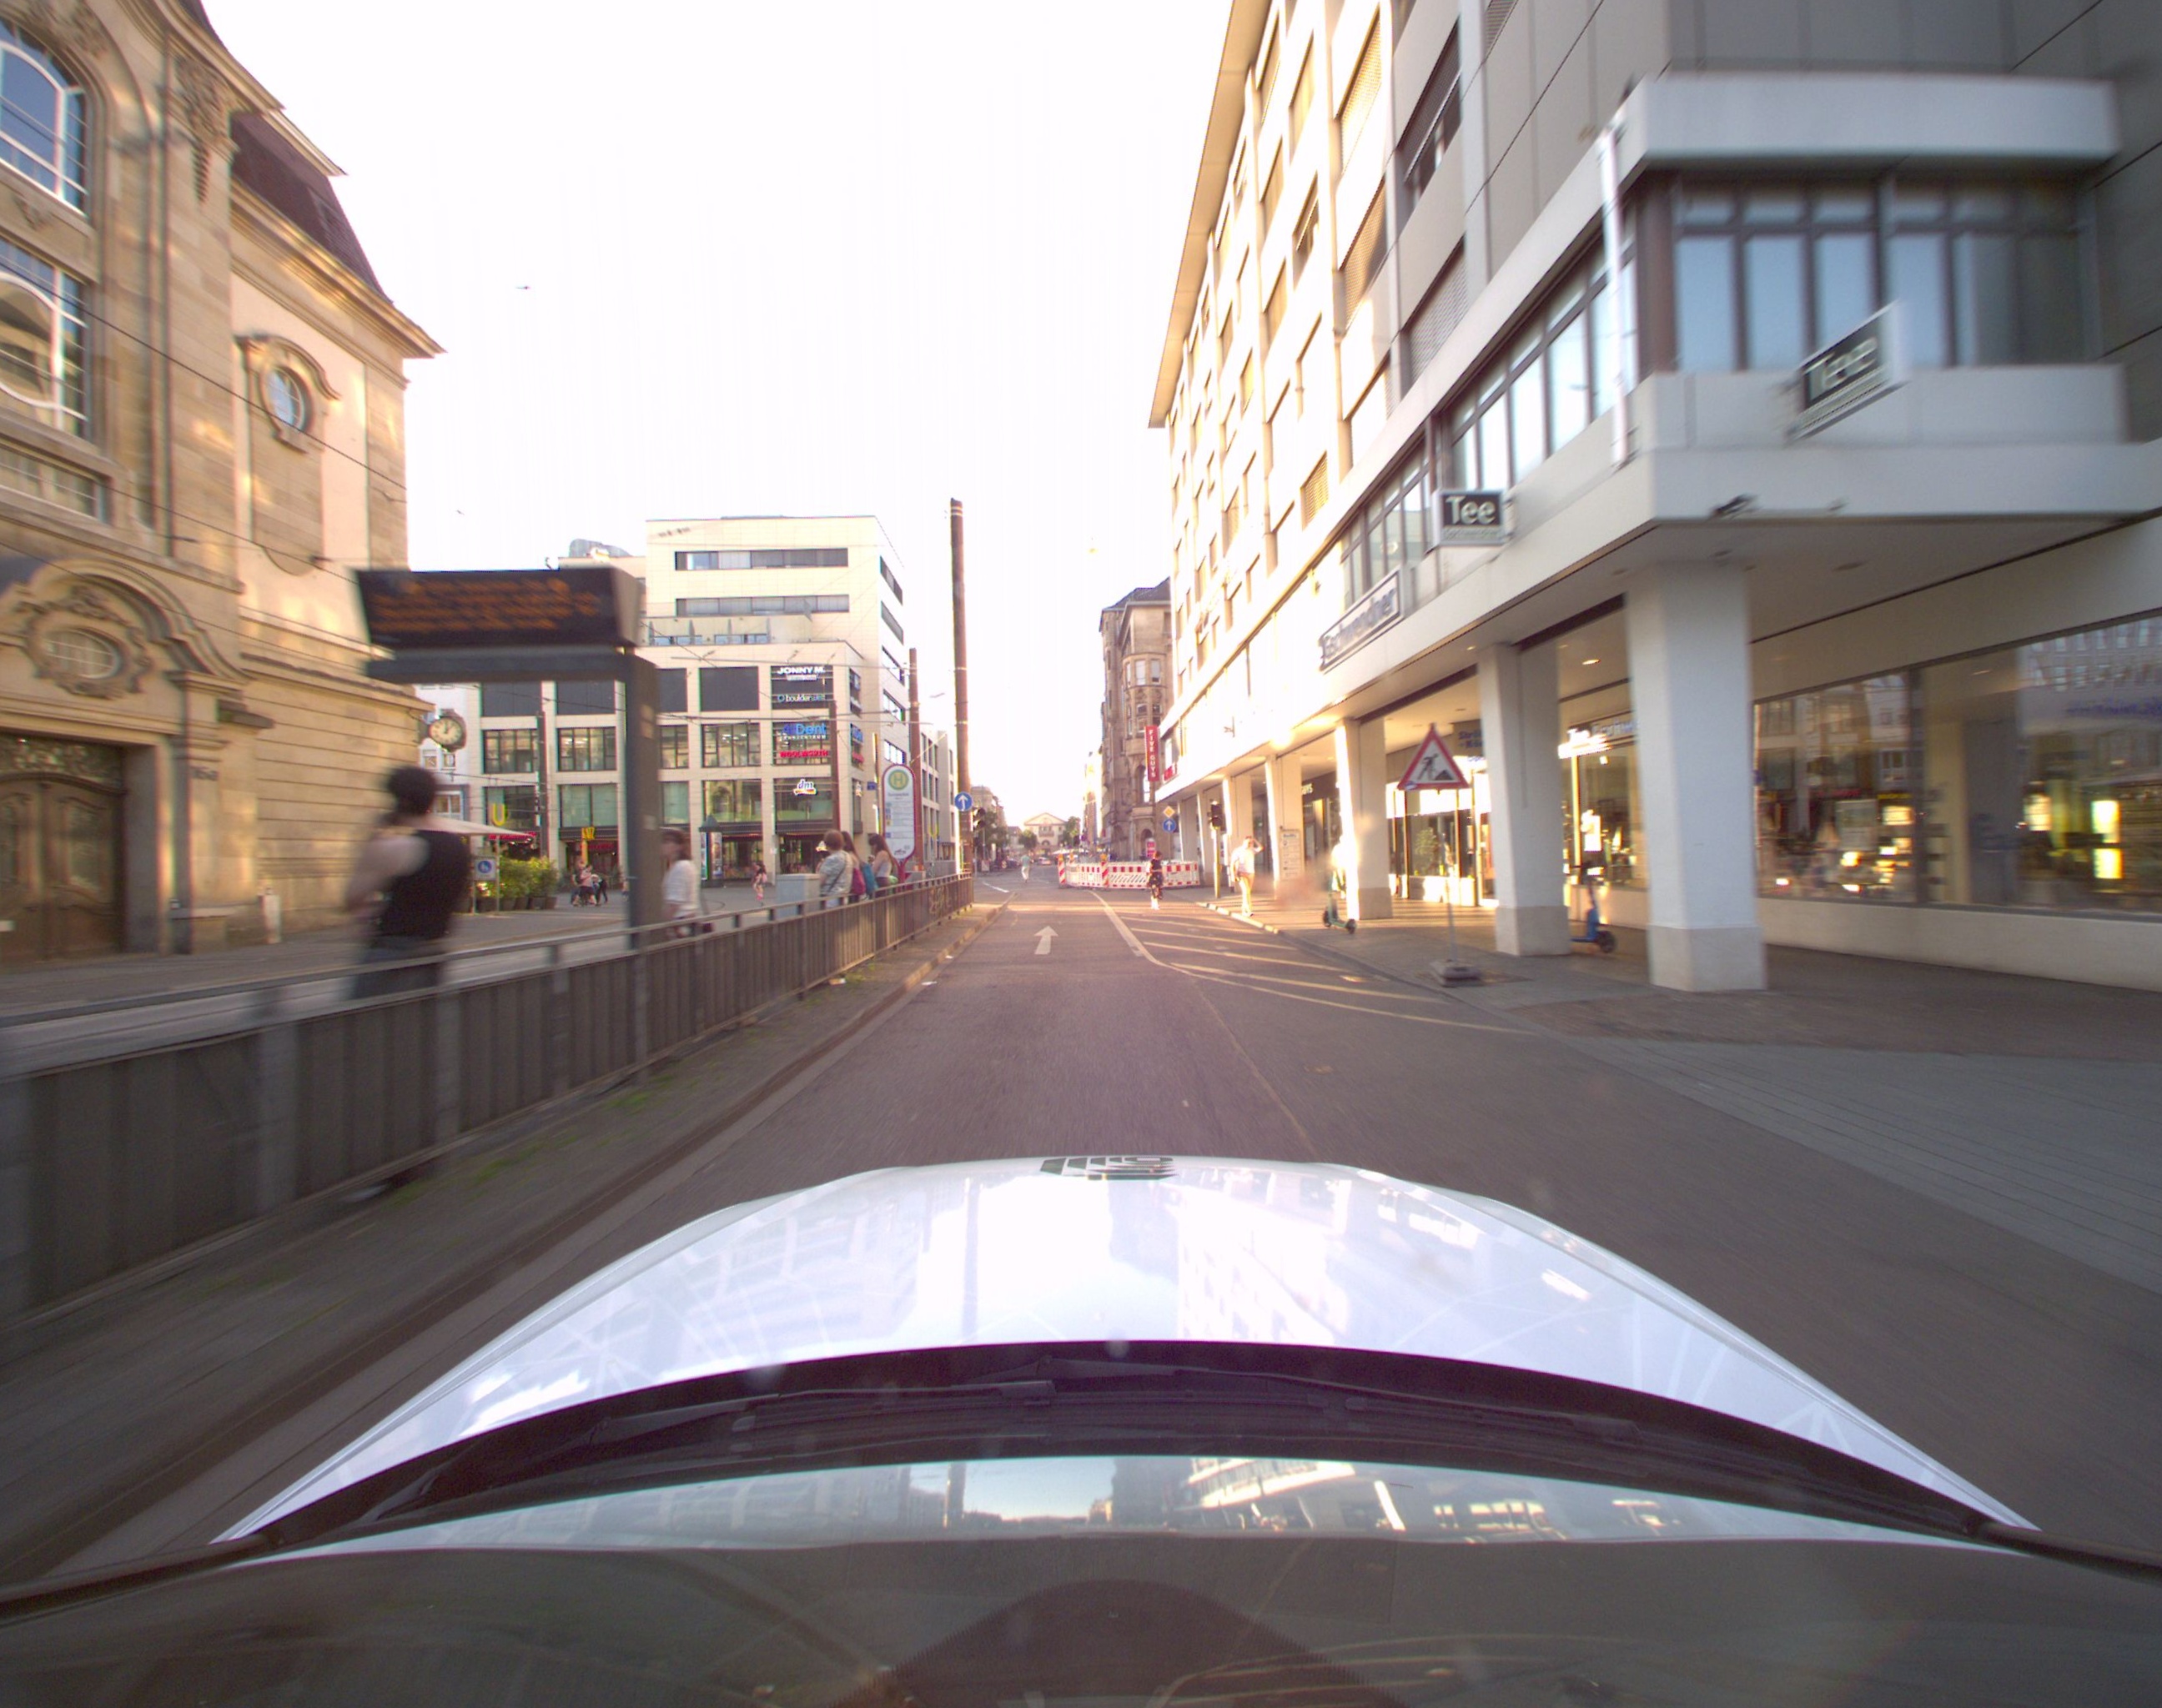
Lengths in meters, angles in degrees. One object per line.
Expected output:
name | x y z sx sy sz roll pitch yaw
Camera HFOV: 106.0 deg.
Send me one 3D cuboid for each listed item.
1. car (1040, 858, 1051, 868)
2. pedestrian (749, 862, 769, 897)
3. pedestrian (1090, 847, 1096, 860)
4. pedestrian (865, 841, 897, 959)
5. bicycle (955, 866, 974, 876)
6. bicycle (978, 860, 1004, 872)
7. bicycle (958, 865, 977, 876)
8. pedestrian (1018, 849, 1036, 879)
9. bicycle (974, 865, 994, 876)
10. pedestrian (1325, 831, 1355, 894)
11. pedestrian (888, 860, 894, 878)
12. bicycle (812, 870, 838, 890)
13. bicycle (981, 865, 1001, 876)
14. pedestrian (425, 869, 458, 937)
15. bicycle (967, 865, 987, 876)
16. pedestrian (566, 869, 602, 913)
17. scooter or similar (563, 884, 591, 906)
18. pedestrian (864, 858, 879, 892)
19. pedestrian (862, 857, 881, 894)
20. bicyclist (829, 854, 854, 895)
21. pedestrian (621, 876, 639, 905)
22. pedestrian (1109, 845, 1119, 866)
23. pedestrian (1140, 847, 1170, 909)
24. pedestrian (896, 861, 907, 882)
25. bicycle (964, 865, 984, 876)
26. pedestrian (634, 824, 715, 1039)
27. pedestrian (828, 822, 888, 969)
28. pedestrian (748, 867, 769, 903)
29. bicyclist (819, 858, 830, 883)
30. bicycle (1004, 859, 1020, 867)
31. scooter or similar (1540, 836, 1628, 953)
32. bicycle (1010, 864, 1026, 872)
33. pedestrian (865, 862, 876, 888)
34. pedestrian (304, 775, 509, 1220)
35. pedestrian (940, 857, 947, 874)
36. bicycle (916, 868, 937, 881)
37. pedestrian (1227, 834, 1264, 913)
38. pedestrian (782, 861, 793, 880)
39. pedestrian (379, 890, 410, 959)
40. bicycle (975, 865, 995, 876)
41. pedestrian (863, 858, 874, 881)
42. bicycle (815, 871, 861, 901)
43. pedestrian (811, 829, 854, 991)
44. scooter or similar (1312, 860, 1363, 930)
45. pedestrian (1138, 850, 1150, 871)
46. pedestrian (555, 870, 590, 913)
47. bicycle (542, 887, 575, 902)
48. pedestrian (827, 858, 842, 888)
car | -6.787 1.657 156.937 1.988 1.904 3.997 -1 -1 -2
pedestrian | -15.226 1.209 38.454 0.774 1.614 0.661 -2 0 -27
pedestrian | 1.570 -0.105 106.761 0.642 1.690 0.670 -2 -1 -4
pedestrian | -2.852 0.646 11.637 0.356 1.642 0.502 -1 -1 -4
bicycle | -12.658 1.846 88.759 1.980 1.122 0.553 0 -1 -31
bicycle | -10.421 1.355 94.480 2.904 1.255 0.796 -2 -1 -28
bicycle | -12.279 1.761 87.828 1.980 1.122 0.553 0 -1 -31
pedestrian | -3.195 0.593 48.378 0.860 1.761 0.770 -1 -1 10
bicycle | -10.143 1.704 85.187 1.980 1.122 0.553 0 -1 -31
pedestrian | 7.498 0.246 23.577 0.696 1.815 0.631 -1 -1 5
pedestrian | -16.189 1.251 69.398 0.389 1.515 0.505 -2 -1 -3
bicycle | -14.842 1.487 47.310 0.569 1.098 2.027 -1 -1 9
bicycle | -9.294 1.677 83.754 1.980 1.122 0.553 0 -1 -31
pedestrian | -14.824 1.117 18.881 0.496 1.525 0.530 -2 -1 45
bicycle | -10.970 1.724 86.008 1.980 1.122 0.553 0 -1 -31
pedestrian | -18.909 1.390 31.006 0.827 1.628 0.805 -2 0 7
scooter or similar | -21.587 1.744 34.892 0.894 0.904 1.084 -2 0 -37
pedestrian | -9.966 1.001 38.750 0.571 1.593 0.445 -2 -1 -22
pedestrian | -9.825 0.999 38.173 0.746 1.700 0.606 -2 -1 -18
bicyclist | -9.516 0.802 32.313 0.794 1.593 0.604 -2 -1 -31
pedestrian | -20.094 1.610 36.284 0.407 1.243 0.487 -2 0 19
pedestrian | 2.638 0.117 64.750 0.624 1.690 0.670 -2 -1 -4
pedestrian | 2.074 0.668 22.770 0.699 1.693 0.539 -1 -1 -9
pedestrian | -15.426 1.516 69.915 0.780 1.751 0.599 -1 -1 -5
bicycle | -11.391 1.736 86.632 1.980 1.122 0.553 0 -1 -31
pedestrian | -3.238 0.595 6.517 0.385 1.642 0.549 -1 -1 -4
pedestrian | -2.775 0.507 10.159 0.537 1.767 0.595 -1 -1 4
pedestrian | -14.939 1.407 37.726 0.825 1.614 0.687 -2 0 -27
bicyclist | -14.860 0.977 47.145 0.418 1.427 0.565 -1 -1 6
bicycle | -9.625 1.287 114.377 2.141 1.029 0.640 -2 -1 -1
scooter or similar | 6.850 0.524 11.146 0.313 1.488 1.314 -2 -1 -1
bicycle | -8.585 1.862 111.012 2.141 1.029 0.640 -2 -1 -1
pedestrian | -14.236 1.413 55.150 0.527 1.674 0.650 -2 0 -1
pedestrian | -2.909 0.571 3.560 0.411 1.767 0.593 -1 -1 -4
pedestrian | -13.542 1.156 80.171 0.679 1.681 0.599 -1 -1 -5
bicycle | -13.168 1.723 69.263 1.690 1.122 0.451 -1 -1 0
pedestrian | 3.856 0.446 19.141 0.696 1.815 0.852 -1 -1 2
pedestrian | -24.139 1.377 66.973 0.569 1.526 0.793 -1 -1 10
pedestrian | -15.829 1.618 18.780 0.504 1.525 0.513 -1 -1 -43
bicycle | -9.927 1.693 84.479 1.980 1.122 0.553 0 -1 -31
pedestrian | -17.070 1.268 65.500 0.569 1.855 0.818 -1 -1 10
bicycle | -9.615 1.260 32.248 1.630 1.103 0.623 -2 -1 -31
pedestrian | -2.842 0.621 9.352 0.341 1.796 0.544 -1 -1 -4
scooter or similar | 4.761 0.735 15.165 0.504 1.234 1.179 -2 -1 -2
pedestrian | 4.961 0.527 63.835 0.817 1.611 0.712 -1 -1 -3
pedestrian | -19.846 1.442 31.794 0.960 1.628 0.695 -2 0 25
bicycle | -37.054 2.894 57.767 0.445 0.986 1.939 -1 -1 33
pedestrian | -14.143 1.082 46.761 0.645 1.674 0.531 -2 0 6
